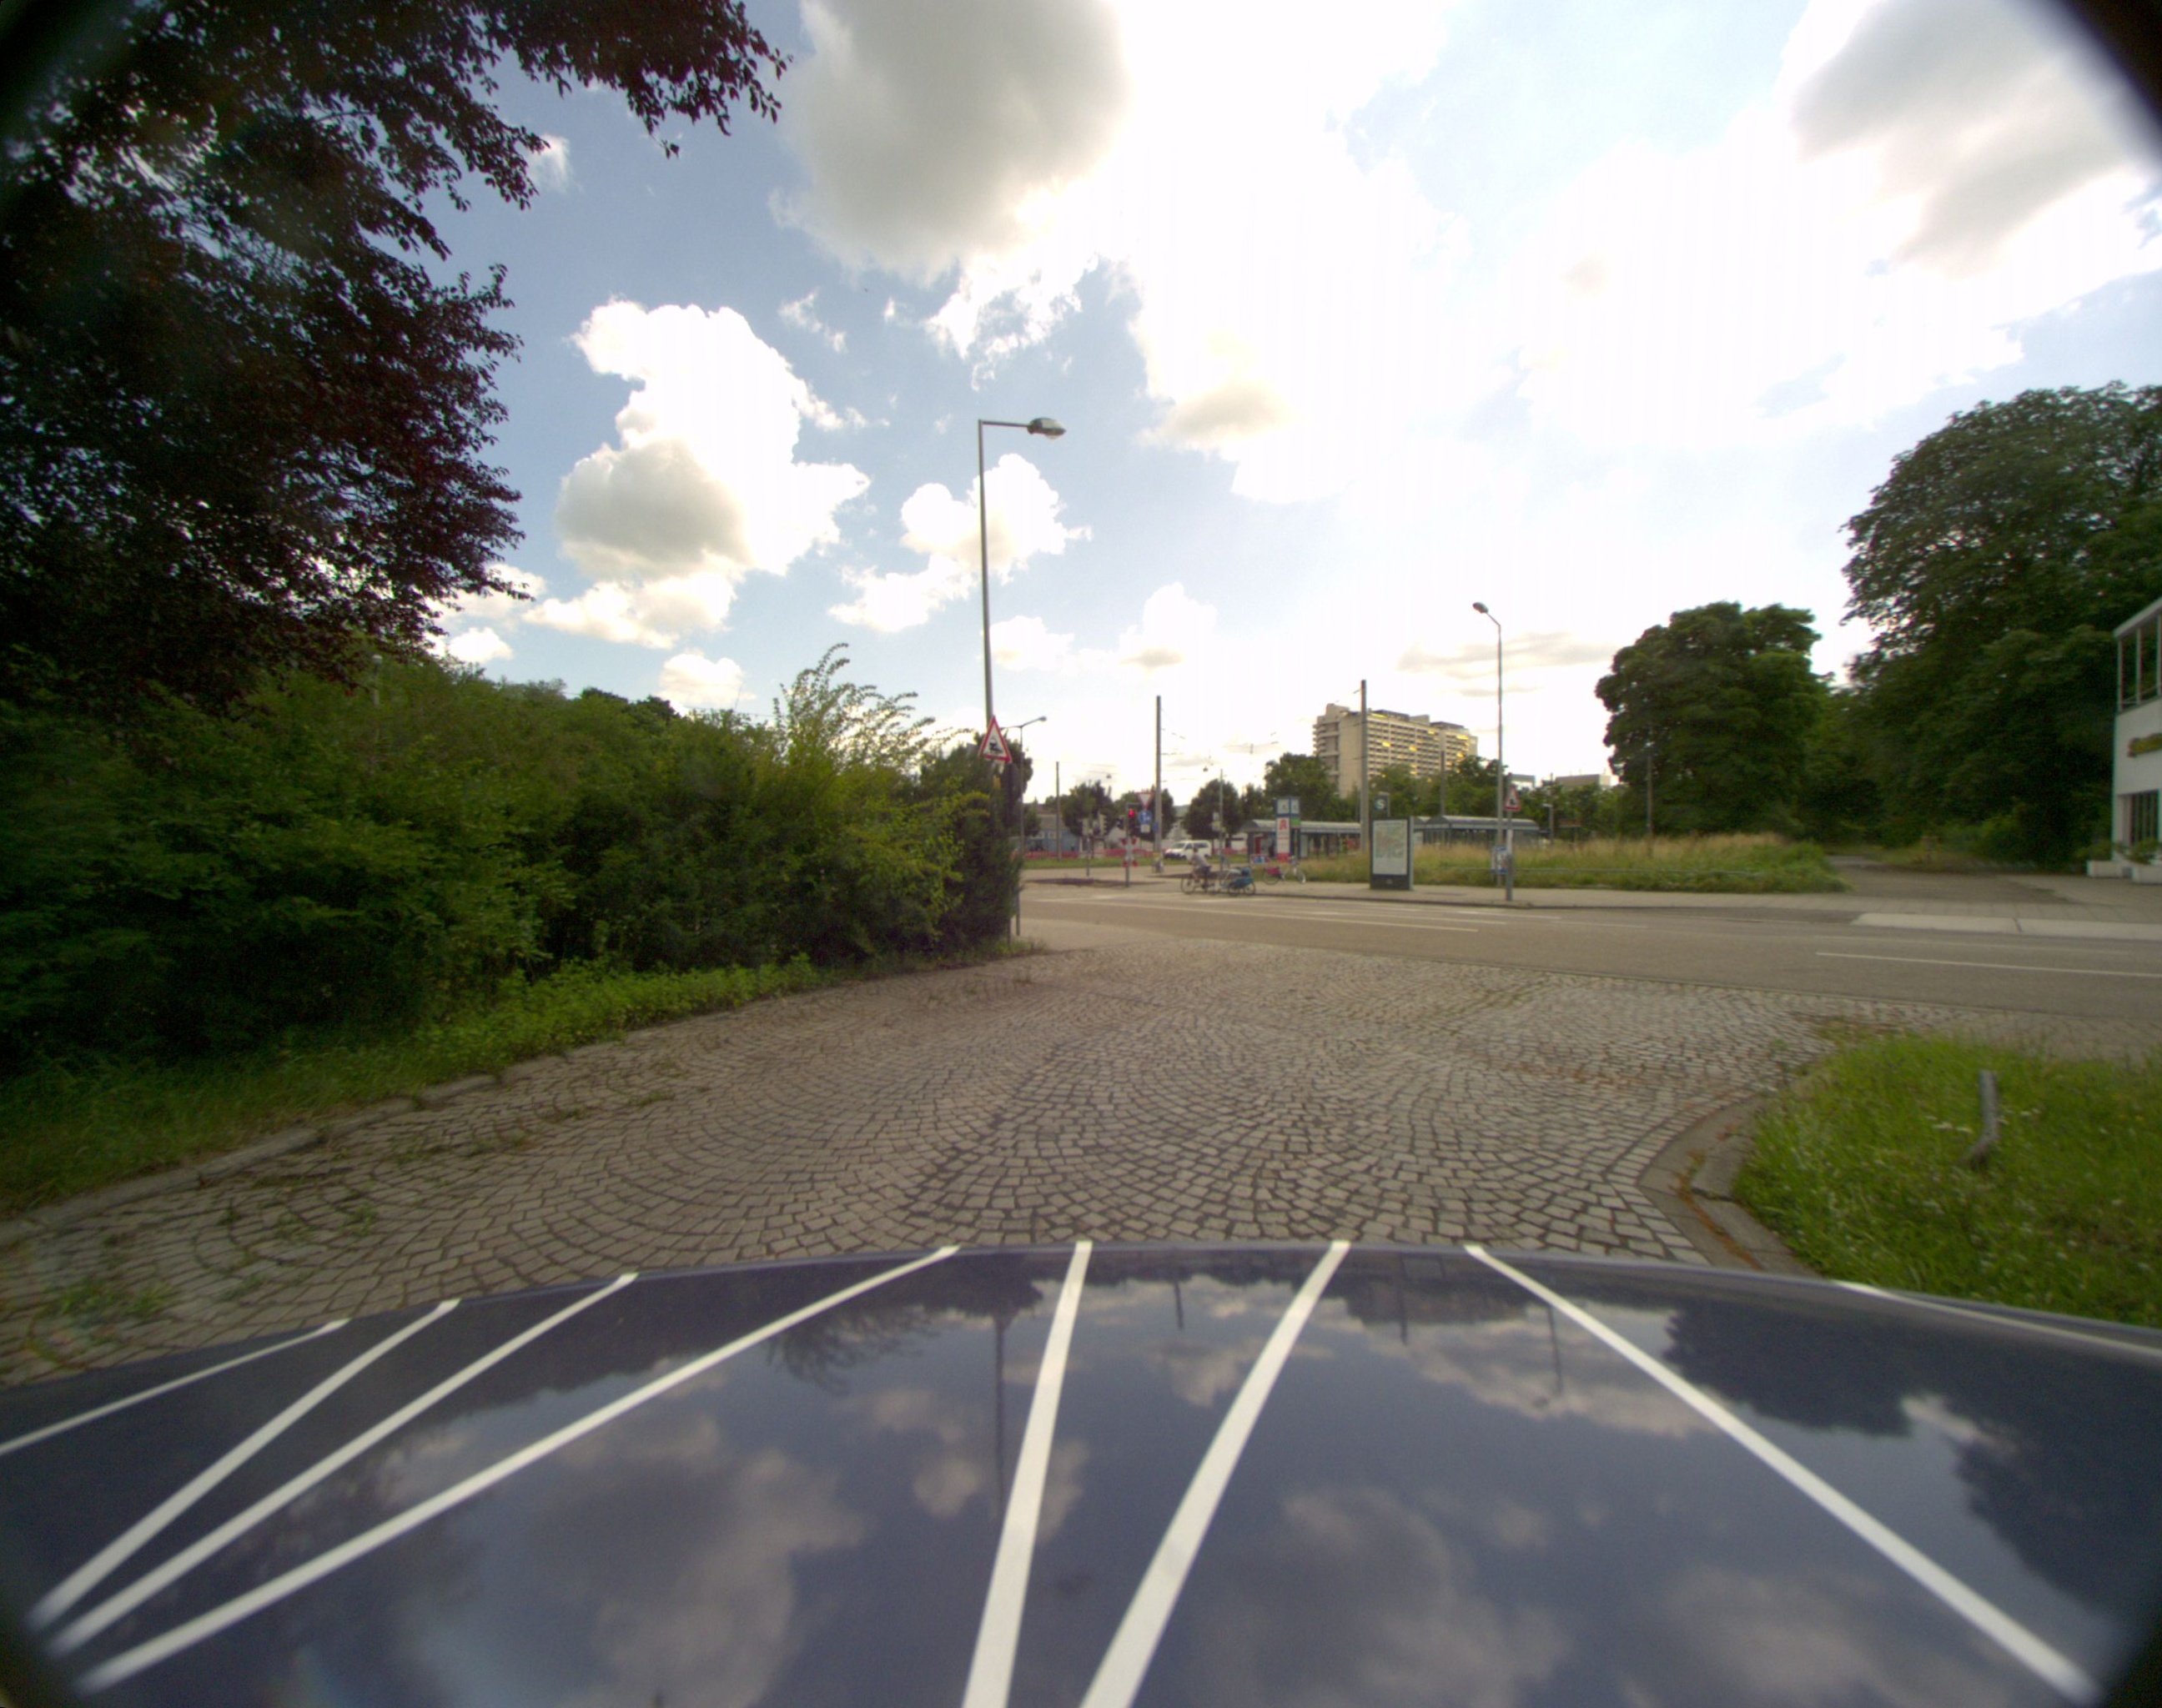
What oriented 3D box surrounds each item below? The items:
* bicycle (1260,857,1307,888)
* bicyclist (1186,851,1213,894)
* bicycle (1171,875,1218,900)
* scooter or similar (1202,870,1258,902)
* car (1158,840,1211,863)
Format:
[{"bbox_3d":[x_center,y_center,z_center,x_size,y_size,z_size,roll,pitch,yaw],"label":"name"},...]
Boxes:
[{"bbox_3d":[7.710,0.706,28.885,1.657,1.126,0.702,-2,1,16],"label":"bicycle"},{"bbox_3d":[4.067,0.629,26.140,0.456,1.467,0.839,-1,2,-37],"label":"bicyclist"},{"bbox_3d":[3.921,1.140,26.344,0.556,0.760,1.723,-1,1,-37],"label":"bicycle"},{"bbox_3d":[4.885,1.020,24.987,0.964,0.974,1.575,-1,1,-37],"label":"scooter or similar"},{"bbox_3d":[9.347,-0.285,68.470,4.842,2.002,1.994,-1,1,-38],"label":"car"}]
